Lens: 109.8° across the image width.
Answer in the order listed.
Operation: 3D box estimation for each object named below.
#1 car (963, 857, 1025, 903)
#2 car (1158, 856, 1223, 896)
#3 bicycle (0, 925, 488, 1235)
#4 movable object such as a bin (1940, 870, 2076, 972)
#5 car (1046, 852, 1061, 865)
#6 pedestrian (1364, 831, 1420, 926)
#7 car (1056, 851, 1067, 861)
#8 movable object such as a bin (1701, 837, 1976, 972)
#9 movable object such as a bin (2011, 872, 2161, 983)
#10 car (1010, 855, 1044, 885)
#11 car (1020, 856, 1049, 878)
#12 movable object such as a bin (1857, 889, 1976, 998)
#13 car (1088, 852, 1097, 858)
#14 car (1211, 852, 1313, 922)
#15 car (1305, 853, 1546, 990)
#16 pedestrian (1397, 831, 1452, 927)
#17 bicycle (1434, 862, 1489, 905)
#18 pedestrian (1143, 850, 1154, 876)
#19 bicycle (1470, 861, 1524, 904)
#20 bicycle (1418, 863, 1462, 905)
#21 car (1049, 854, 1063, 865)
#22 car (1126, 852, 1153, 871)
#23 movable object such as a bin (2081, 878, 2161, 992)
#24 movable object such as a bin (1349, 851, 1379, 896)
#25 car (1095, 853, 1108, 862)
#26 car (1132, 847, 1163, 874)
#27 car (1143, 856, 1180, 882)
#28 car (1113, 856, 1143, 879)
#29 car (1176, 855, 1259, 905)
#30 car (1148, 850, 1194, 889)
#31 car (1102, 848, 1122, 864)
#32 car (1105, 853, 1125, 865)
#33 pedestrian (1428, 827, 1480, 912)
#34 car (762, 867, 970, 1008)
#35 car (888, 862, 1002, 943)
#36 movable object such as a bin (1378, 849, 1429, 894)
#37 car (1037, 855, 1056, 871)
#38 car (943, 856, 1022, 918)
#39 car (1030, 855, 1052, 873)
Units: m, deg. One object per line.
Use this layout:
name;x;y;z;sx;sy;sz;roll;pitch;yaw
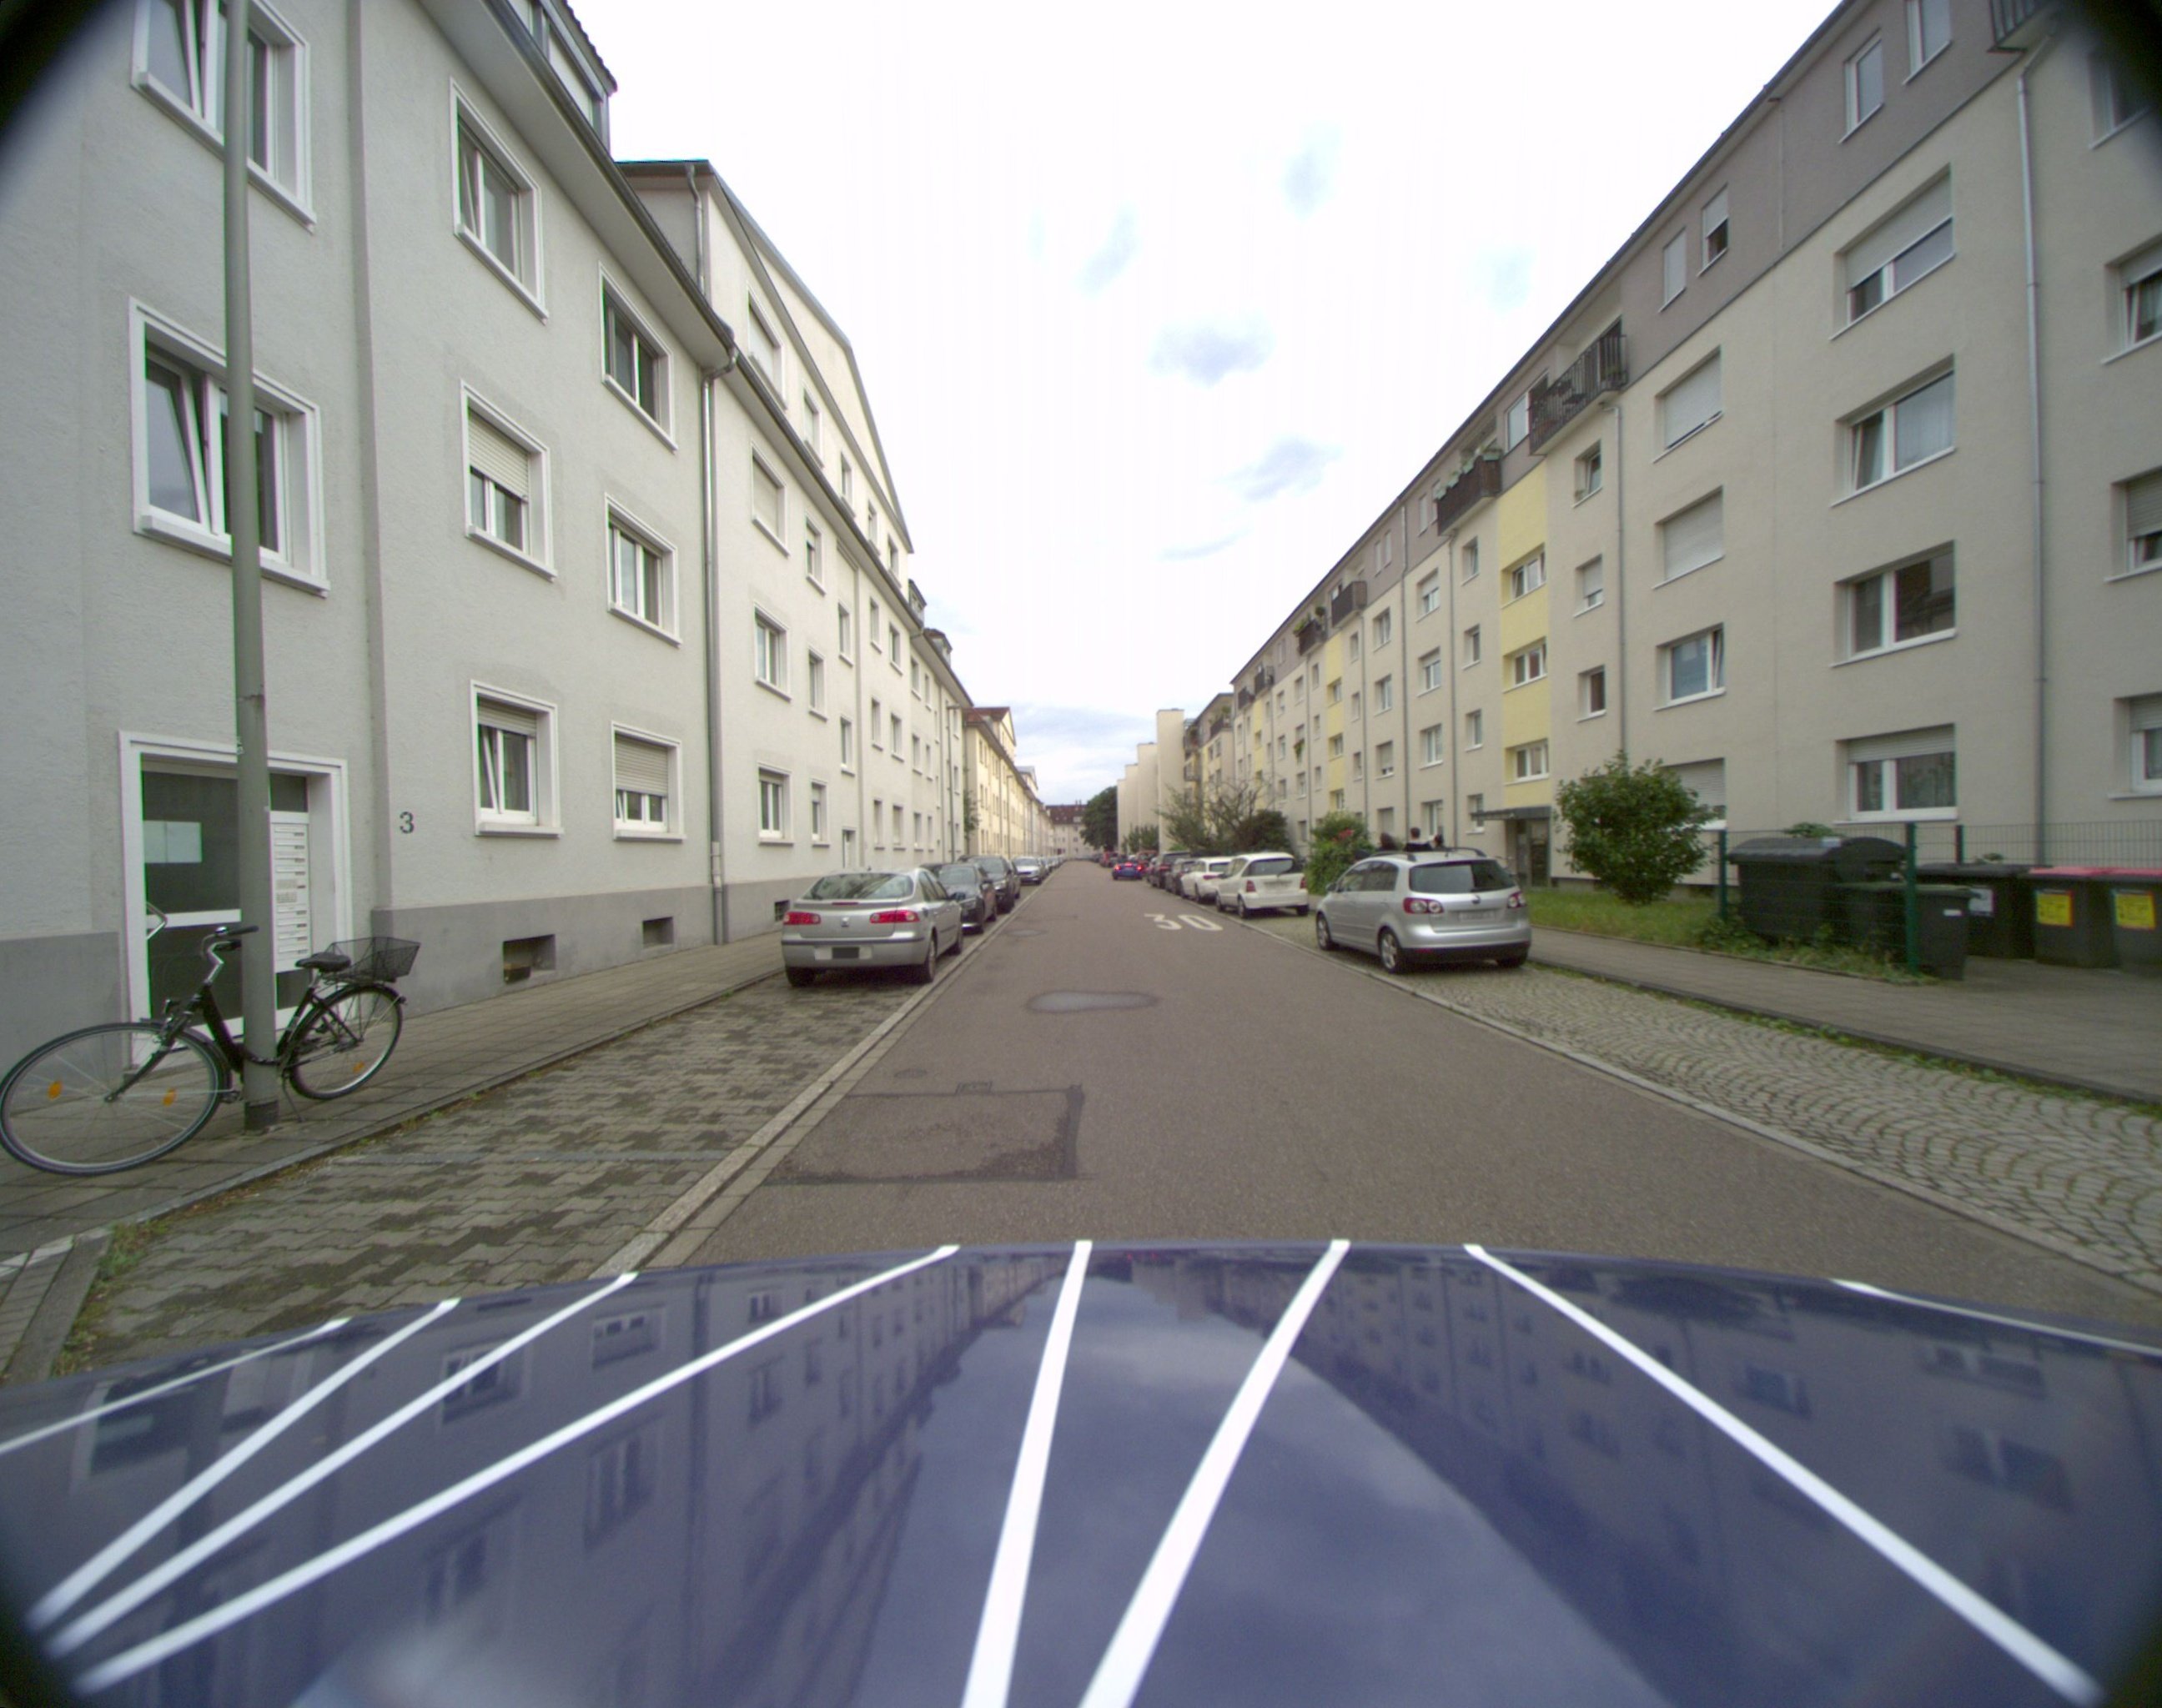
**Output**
car;-3.004;0.868;26.914;1.737;1.478;3.756;-1;0;0
car;4.352;0.826;30.858;1.730;1.445;4.481;-1;0;-3
bicycle;-4.464;1.085;4.293;0.750;1.193;1.895;1;0;0
movable object such as a bin;10.672;0.751;8.769;0.844;1.110;0.598;-1;0;-3
car;-3.248;0.539;89.735;1.737;1.443;4.217;-1;0;-2
pedestrian;6.326;0.483;15.499;0.642;1.853;0.974;-3;0;0
car;-3.338;0.394;128.554;1.737;1.670;3.591;-1;0;-2
movable object such as a bin;8.889;0.551;9.068;1.593;1.412;1.671;-2;0;-1
movable object such as a bin;10.699;0.764;8.105;0.844;1.110;0.598;-1;0;-3
car;-3.006;0.856;42.694;1.737;1.538;3.676;-1;1;-2
car;-3.094;0.875;51.607;1.737;1.418;4.217;-1;0;-1
movable object such as a bin;8.431;0.886;7.690;0.538;1.027;0.598;-1;0;-2
car;2.808;0.207;188.796;1.746;1.534;3.636;-2;0;-6
car;4.651;0.792;20.075;1.689;1.629;3.727;-1;0;-2
car;4.730;0.821;11.104;1.658;1.541;3.915;-4;0;0
pedestrian;6.828;0.485;15.124;0.708;1.843;0.763;-1;0;0
bicycle;9.599;0.729;19.229;0.479;1.018;1.754;-1;0;-1
pedestrian;4.411;0.598;49.429;0.603;1.657;0.622;-1;1;-3
bicycle;10.486;0.699;19.211;0.421;1.018;1.558;-1;0;-4
bicycle;9.101;0.745;19.308;0.357;1.018;1.497;-1;0;-1
car;-3.282;0.699;99.528;1.737;1.443;4.217;-1;0;-2
car;4.645;0.620;60.441;1.707;1.436;3.541;-1;0;-3
movable object such as a bin;10.657;0.777;7.451;0.866;1.045;0.634;-1;0;-2
movable object such as a bin;8.919;0.606;23.949;0.659;1.360;0.587;-2;2;-4
car;3.754;0.631;140.222;1.746;1.534;3.636;-1;0;-6
car;4.723;0.472;54.253;1.707;1.795;3.541;-1;0;-3
car;4.583;0.854;43.700;1.575;1.389;3.541;-1;0;-3
car;3.006;0.842;48.896;1.680;1.307;3.907;-1;1;0
car;4.473;0.830;25.676;1.723;1.501;4.686;-1;0;-3
car;4.308;0.729;36.886;1.575;1.769;4.451;-1;0;-1
car;4.127;0.338;100.639;2.188;2.019;4.422;-1;0;-3
car;4.231;0.582;94.405;2.013;1.436;4.196;-1;0;-3
pedestrian;7.479;0.298;15.272;0.616;1.647;0.803;-1;0;0
car;-2.679;0.952;10.557;1.737;1.454;4.430;-1;0;-2
car;-2.778;0.931;16.385;1.786;1.454;4.322;-1;0;-2
movable object such as a bin;10.370;0.546;24.475;1.060;1.367;1.188;-2;2;-5
car;-3.161;0.813;70.558;1.737;1.363;4.217;-1;0;-2
car;-2.724;0.860;21.857;1.853;1.589;4.159;-1;0;-2
car;-3.249;0.814;62.848;1.737;1.402;4.217;-1;0;-2
